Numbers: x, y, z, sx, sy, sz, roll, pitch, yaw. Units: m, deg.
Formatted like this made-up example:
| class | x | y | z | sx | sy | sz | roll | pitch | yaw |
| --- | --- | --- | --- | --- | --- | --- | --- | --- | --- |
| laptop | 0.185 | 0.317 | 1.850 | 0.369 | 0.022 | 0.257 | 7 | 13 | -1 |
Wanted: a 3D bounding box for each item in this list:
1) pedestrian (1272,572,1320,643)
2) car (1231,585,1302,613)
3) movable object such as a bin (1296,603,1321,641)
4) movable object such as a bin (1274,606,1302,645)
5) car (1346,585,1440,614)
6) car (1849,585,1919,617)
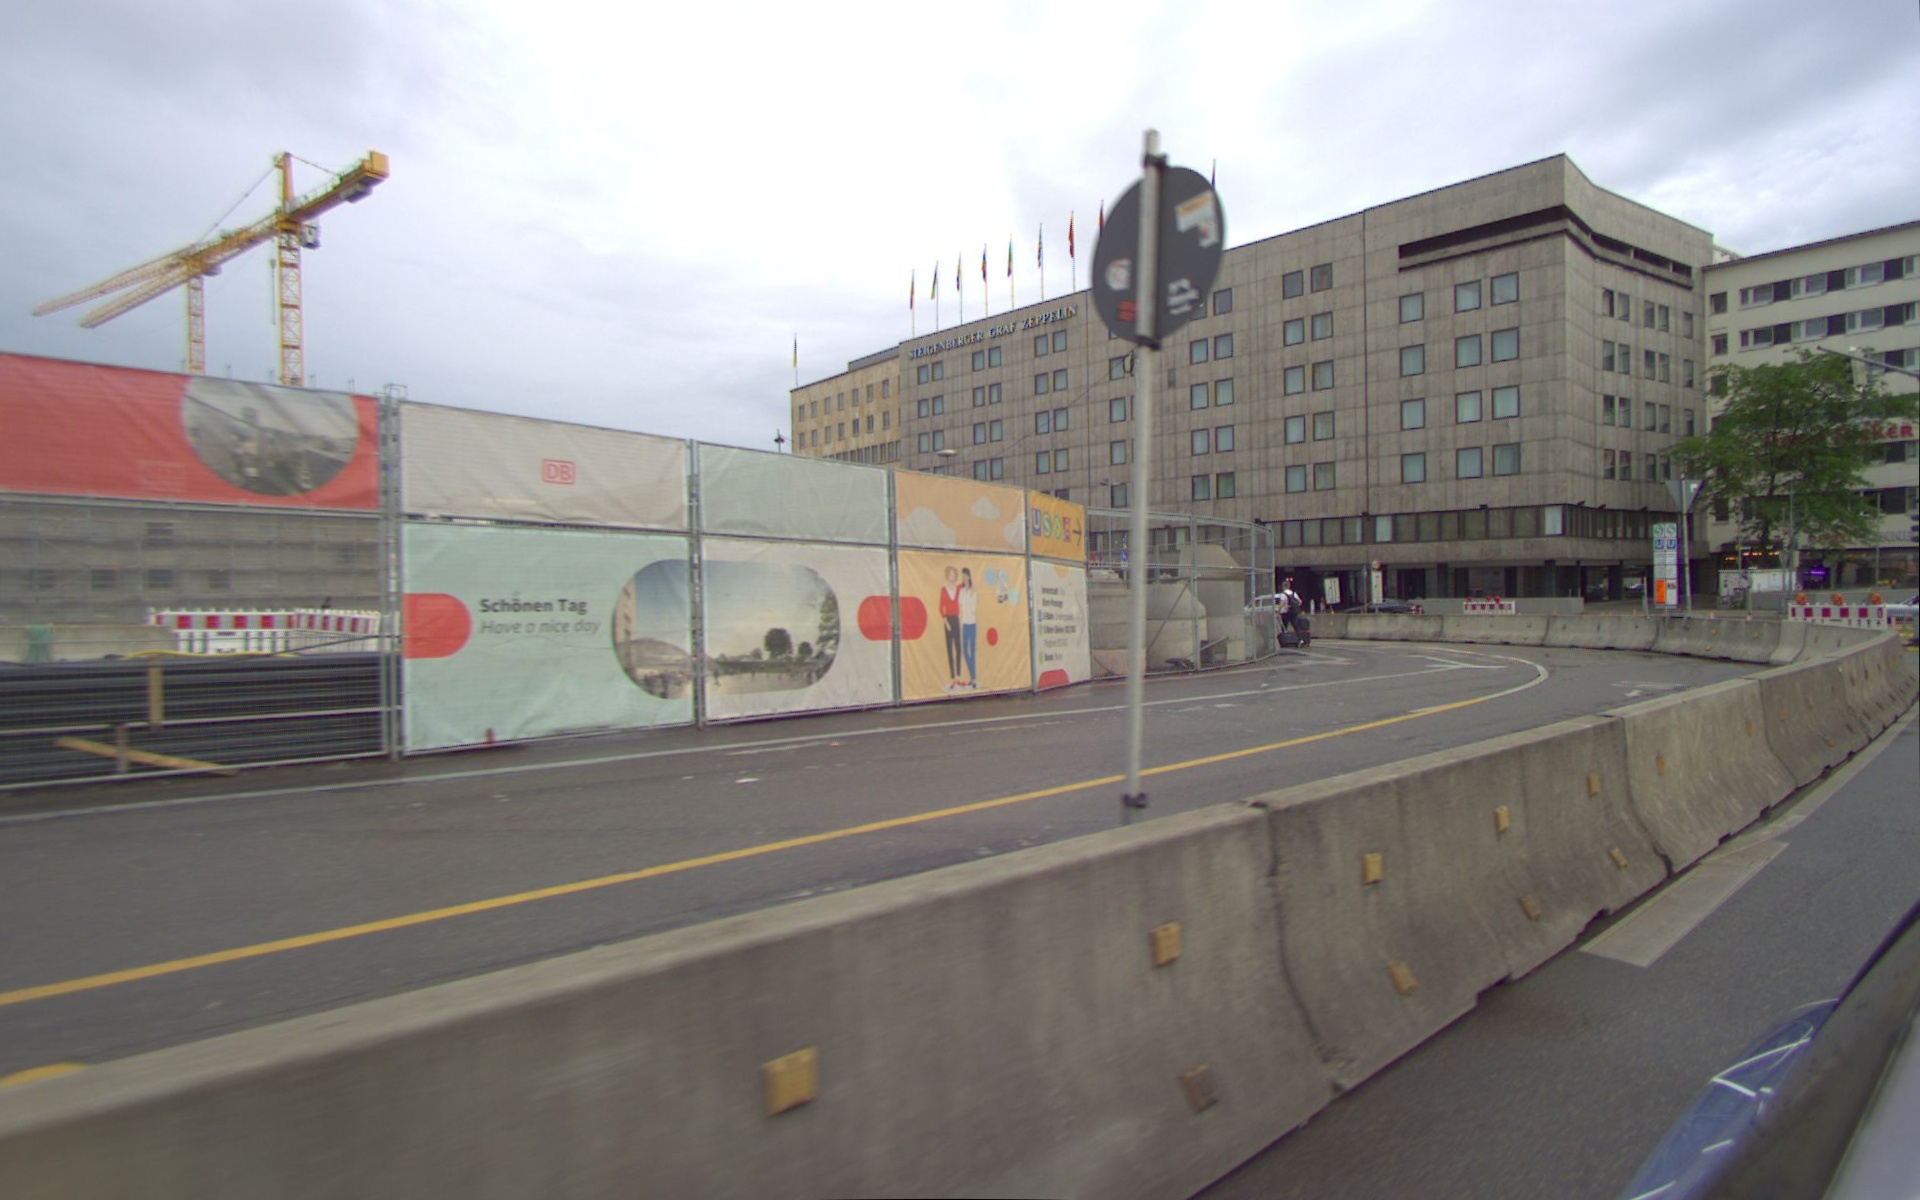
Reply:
| class | x | y | z | sx | sy | sz | roll | pitch | yaw |
| --- | --- | --- | --- | --- | --- | --- | --- | --- | --- |
| pedestrian | 9.230 | 0.204 | 27.825 | 0.982 | 1.889 | 0.780 | -1 | 0 | -9 |
| car | 20.885 | -0.039 | 69.013 | 1.750 | 1.785 | 4.360 | -1 | 0 | -43 |
| movable object such as a bin | 9.676 | 0.614 | 28.127 | 0.423 | 1.029 | 0.523 | -1 | 0 | -10 |
| movable object such as a bin | 8.858 | 0.670 | 27.322 | 0.508 | 1.029 | 0.554 | -1 | 0 | -10 |
| car | 25.347 | -0.003 | 59.315 | 1.986 | 1.618 | 4.649 | -1 | 0 | -45 |
| car | 40.294 | 0.029 | 42.225 | 1.610 | 1.326 | 4.533 | -1 | 0 | -31 |
